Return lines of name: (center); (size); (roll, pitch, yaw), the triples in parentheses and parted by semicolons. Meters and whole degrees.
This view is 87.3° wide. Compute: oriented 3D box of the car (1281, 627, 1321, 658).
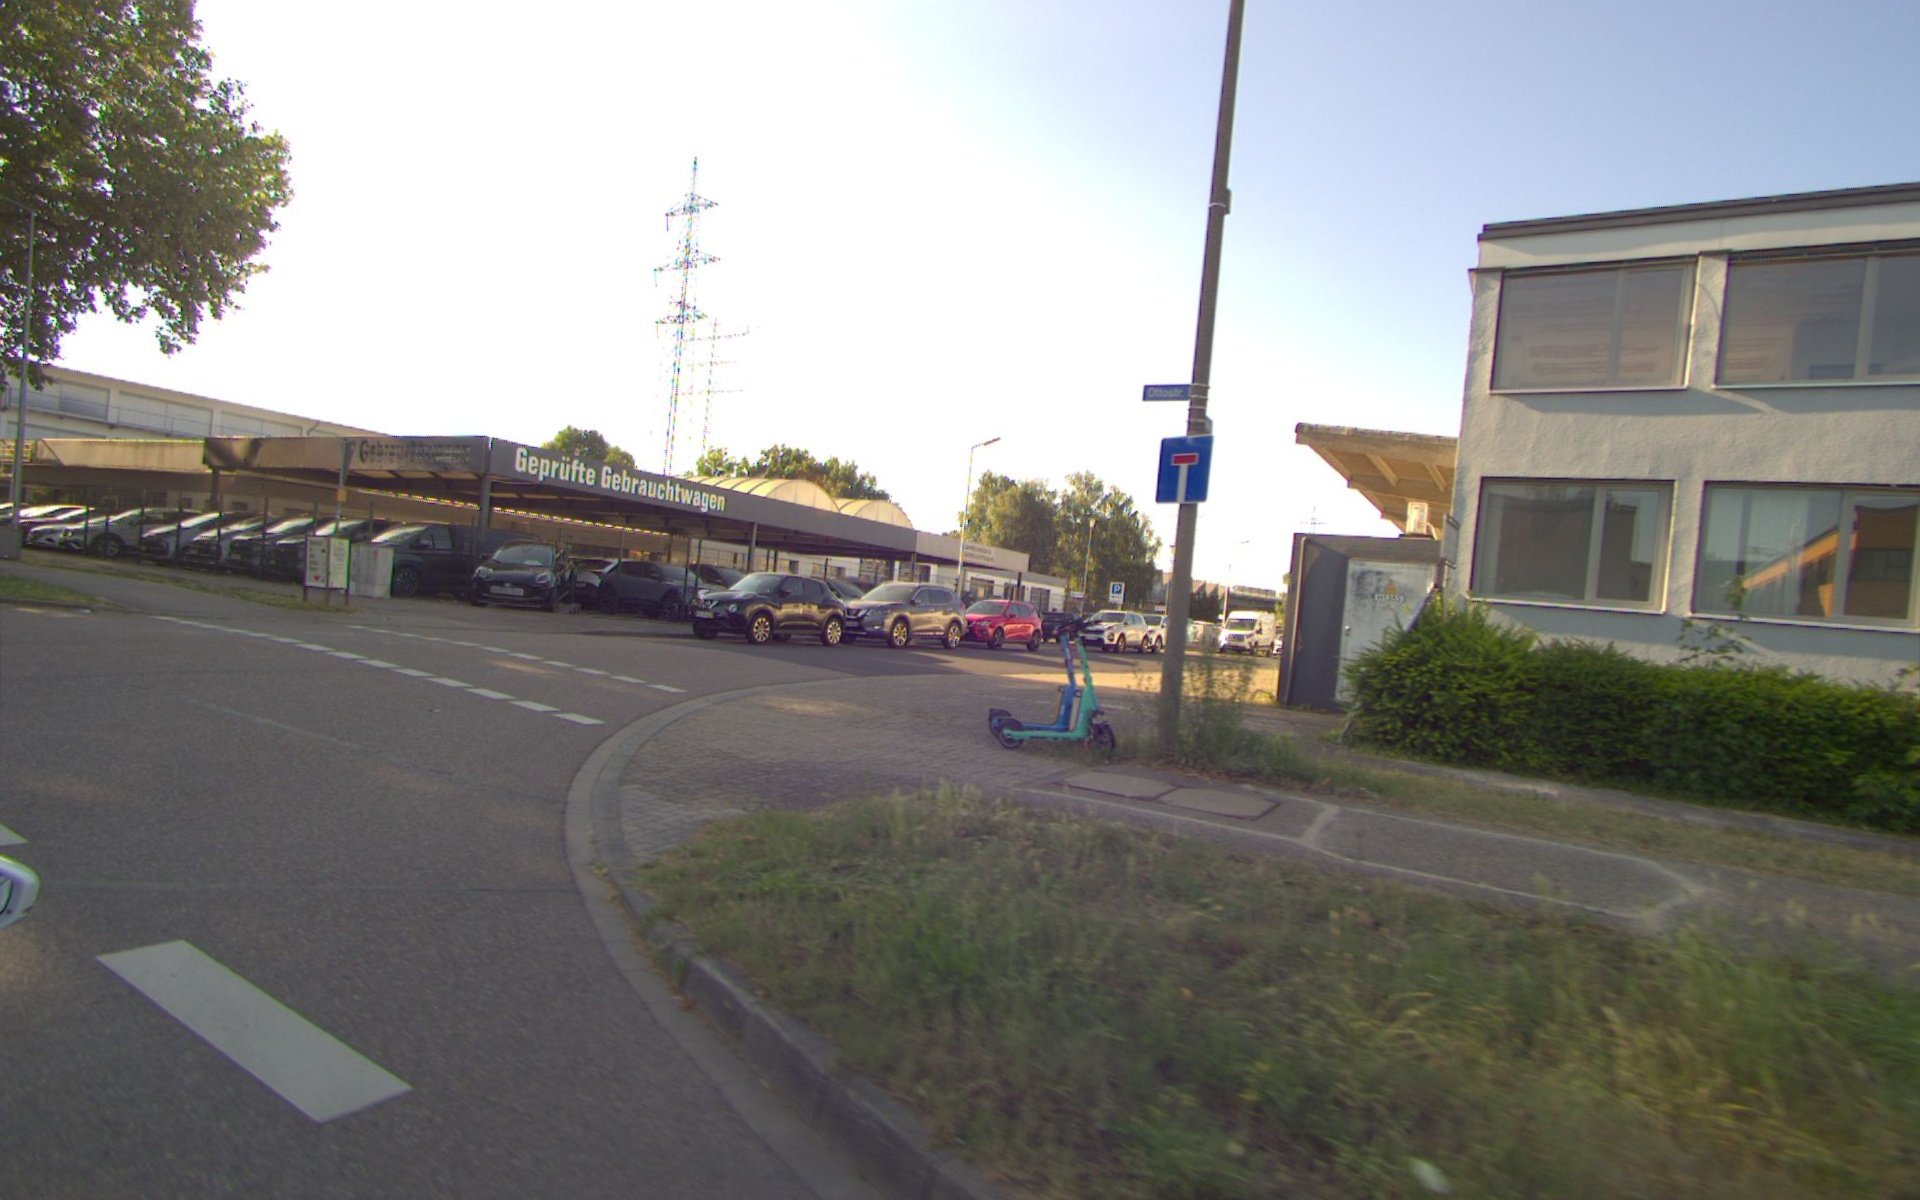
car: (24.503, 3.082, 72.176); (1.966, 2.007, 3.994); (3, -2, 28)

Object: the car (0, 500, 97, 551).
car: (-36.449, -2.996, 39.031); (1.966, 1.565, 3.994); (6, -1, 30)

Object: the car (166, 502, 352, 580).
car: (-20.755, -1.708, 29.943); (1.966, 1.720, 3.994); (6, -1, 30)

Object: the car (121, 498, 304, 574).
car: (-23.133, -1.947, 31.283); (1.966, 1.720, 3.994); (6, -1, 30)

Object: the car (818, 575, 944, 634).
car: (-2.829, 0.157, 35.787); (3.933, 1.755, 1.996); (3, -1, 30)

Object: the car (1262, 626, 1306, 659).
car: (21.485, 2.820, 66.589); (1.966, 2.007, 3.994); (3, -2, 28)

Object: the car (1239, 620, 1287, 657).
car: (18.553, 2.373, 61.454); (1.966, 2.007, 3.994); (3, -2, 28)

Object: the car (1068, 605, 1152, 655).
car: (5.978, 1.218, 39.710); (1.966, 1.724, 3.994); (3, -2, 28)

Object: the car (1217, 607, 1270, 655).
car: (16.083, 1.797, 56.968); (1.966, 2.459, 3.994); (3, -1, 28)

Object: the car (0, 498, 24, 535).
car: (-44.622, -3.998, 44.689); (1.966, 1.565, 3.994); (6, -1, 30)

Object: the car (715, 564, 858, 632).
car: (-5.415, -0.073, 31.412); (3.933, 1.755, 1.996); (4, -1, 30)

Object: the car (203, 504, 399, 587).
car: (-18.214, -1.467, 27.987); (1.966, 1.720, 3.994); (6, -1, 30)

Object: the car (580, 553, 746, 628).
car: (-7.970, -0.256, 26.980); (3.932, 1.621, 1.996); (5, 0, 30)

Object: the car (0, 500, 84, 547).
car: (-38.498, -3.221, 40.767); (1.966, 1.522, 3.994); (6, -1, 30)

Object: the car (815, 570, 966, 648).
car: (-1.719, 0.284, 26.309); (1.966, 1.724, 4.115); (3, -2, 28)

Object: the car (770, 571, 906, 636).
car: (-4.056, 0.116, 33.359); (3.932, 1.755, 1.996); (5, 0, 30)

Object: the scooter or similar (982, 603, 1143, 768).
scooter or similar: (0.928, 0.758, 9.193); (1.273, 1.314, 0.443); (6, 0, 29)

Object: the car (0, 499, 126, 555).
car: (-34.156, -2.753, 37.665); (1.966, 1.565, 3.994); (6, -1, 30)

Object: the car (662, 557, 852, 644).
car: (-4.393, 0.071, 22.368); (1.966, 1.624, 3.994); (3, -2, 28)

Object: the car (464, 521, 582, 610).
car: (-10.252, -0.718, 23.909); (1.908, 1.791, 3.990); (4, -1, -15)

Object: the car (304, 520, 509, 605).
car: (-13.889, -0.905, 25.467); (1.966, 1.587, 3.994); (6, -1, 30)

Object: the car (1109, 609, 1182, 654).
car: (8.195, 1.412, 44.199); (1.966, 1.724, 3.994); (3, -2, 28)

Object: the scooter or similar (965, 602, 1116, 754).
scooter or similar: (0.780, 0.742, 9.863); (1.273, 1.314, 0.443); (6, 0, 29)

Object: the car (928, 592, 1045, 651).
car: (0.899, 0.710, 31.190); (1.966, 1.568, 3.994); (3, -2, 28)

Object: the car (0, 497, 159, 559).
car: (-31.834, -2.562, 36.333); (1.966, 1.565, 3.994); (6, -1, 30)

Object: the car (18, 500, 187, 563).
car: (-29.798, -2.359, 35.085); (1.966, 1.565, 3.994); (6, -1, 30)

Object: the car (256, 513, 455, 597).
car: (-15.971, -1.146, 26.801); (1.966, 1.654, 3.994); (6, -1, 30)

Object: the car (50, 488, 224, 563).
car: (-27.589, -2.461, 33.847); (1.966, 1.854, 3.994); (6, -1, 30)
